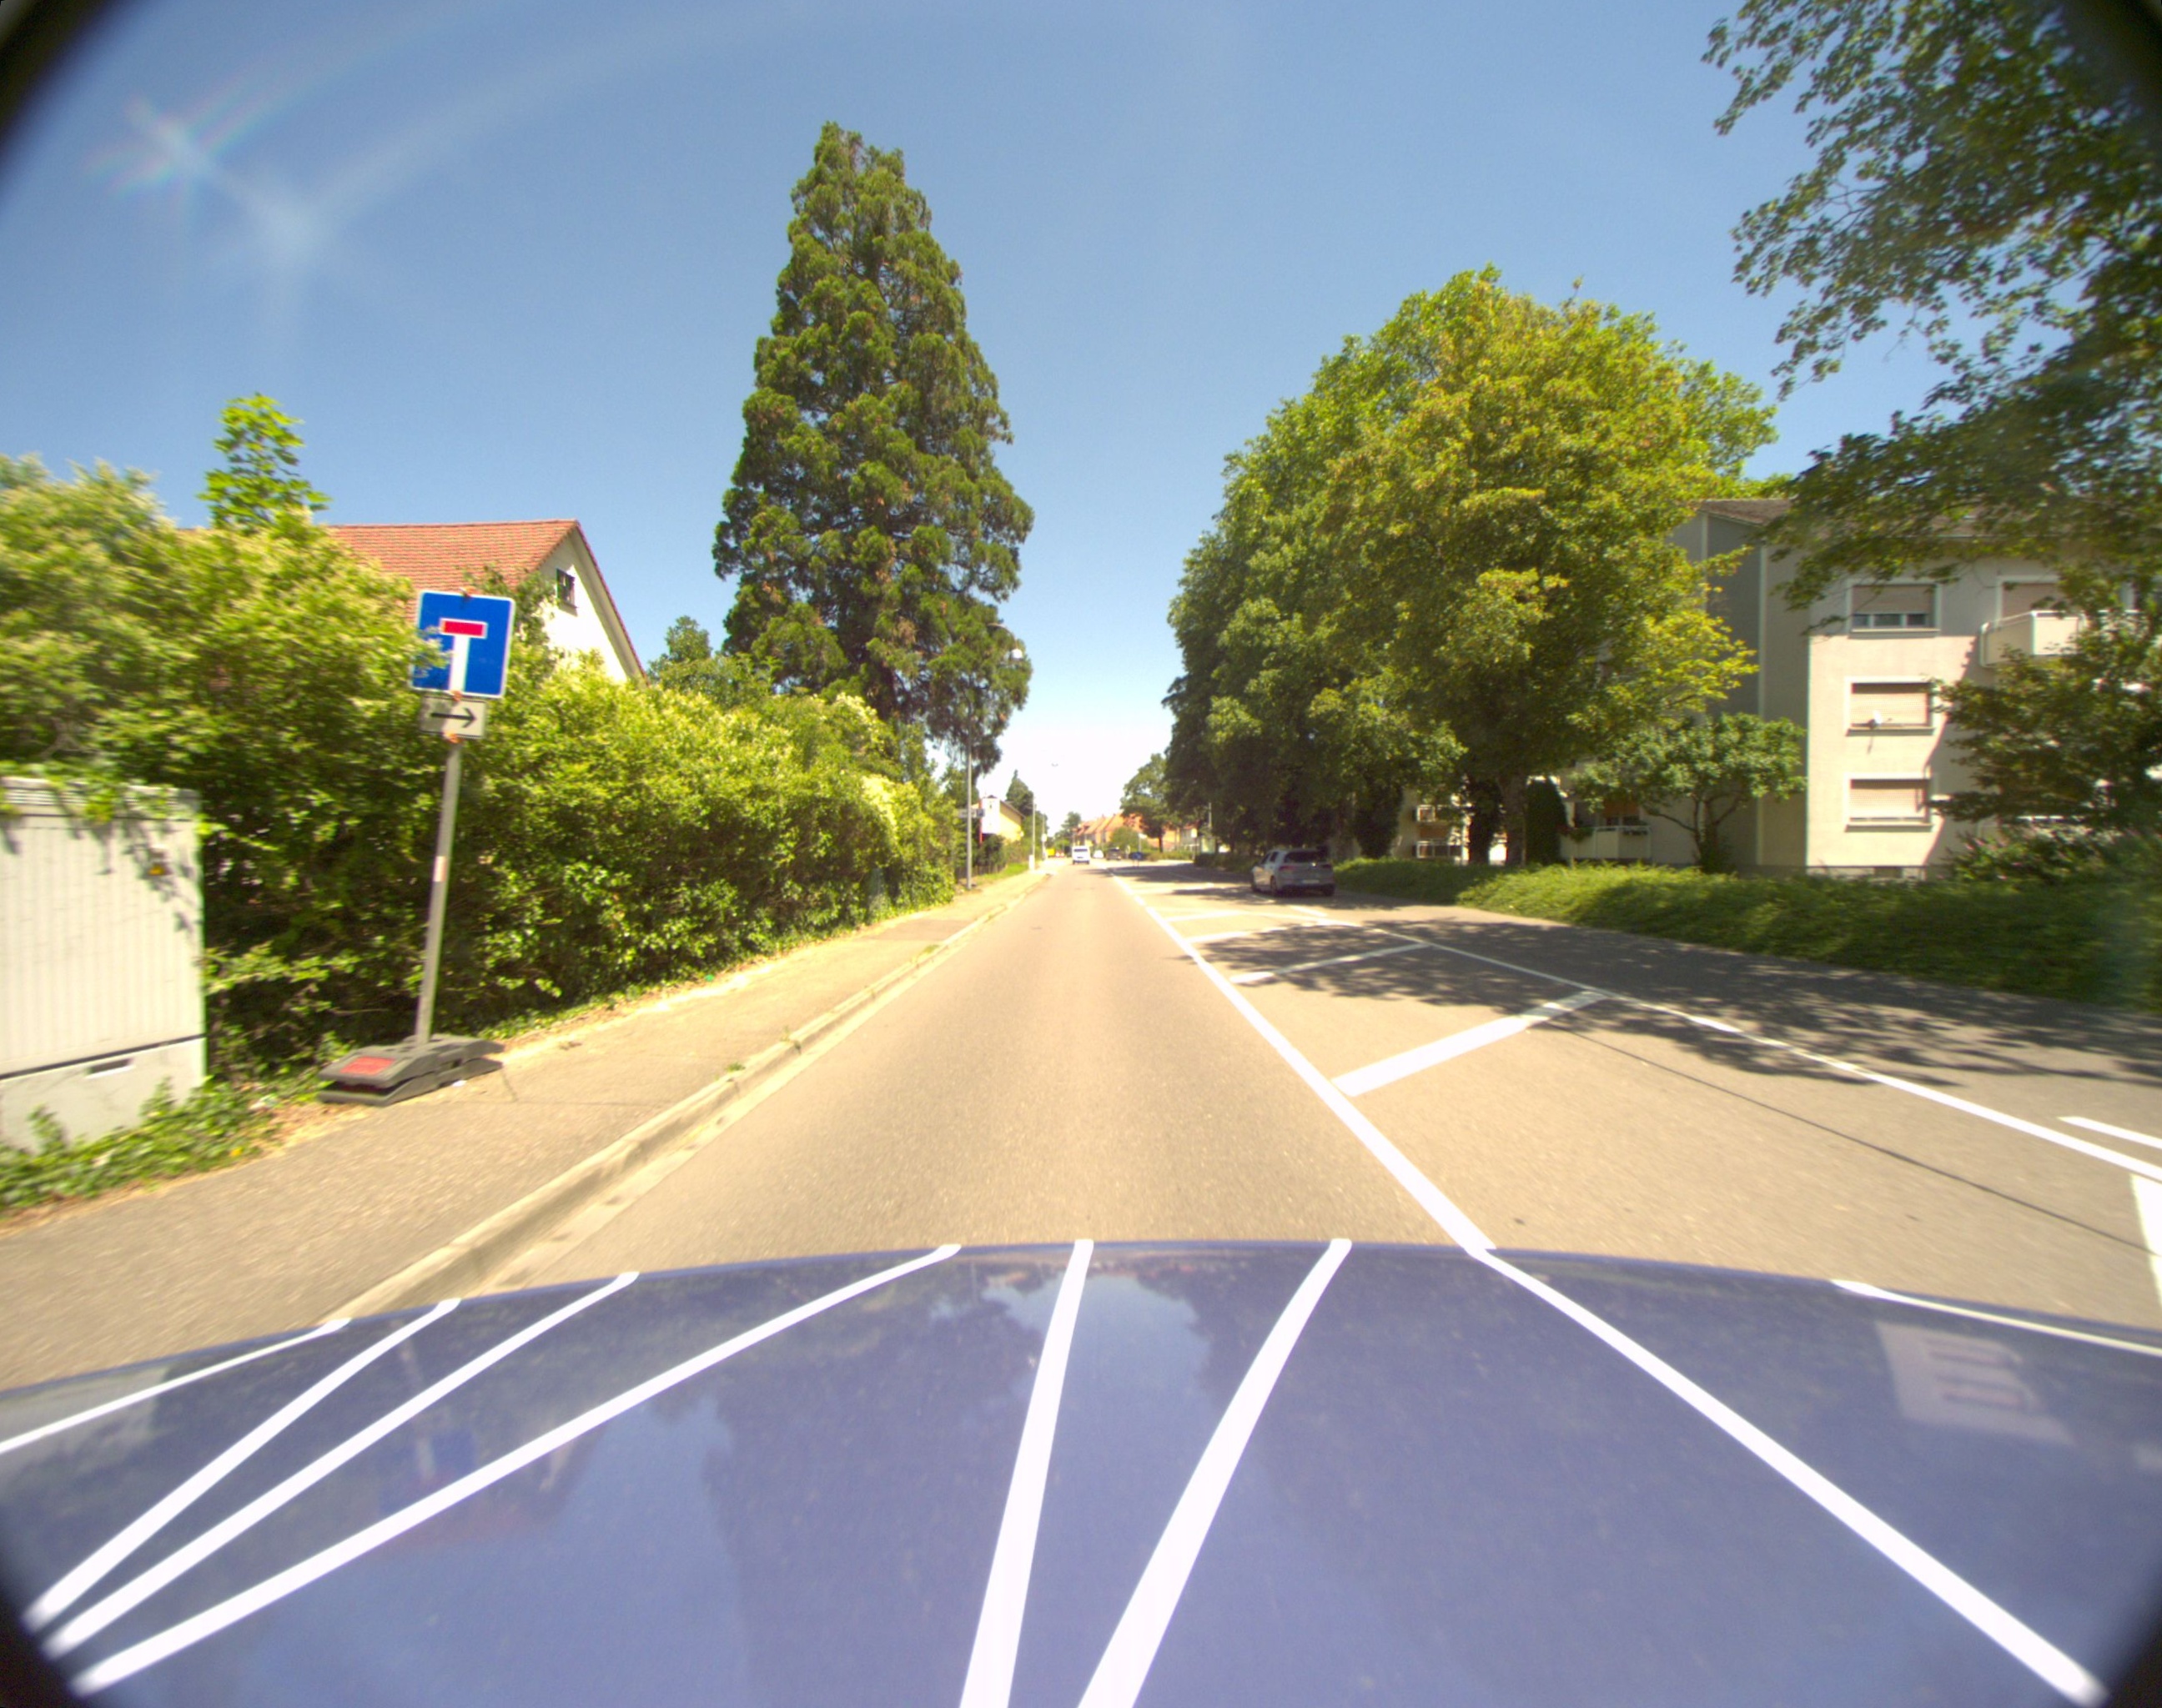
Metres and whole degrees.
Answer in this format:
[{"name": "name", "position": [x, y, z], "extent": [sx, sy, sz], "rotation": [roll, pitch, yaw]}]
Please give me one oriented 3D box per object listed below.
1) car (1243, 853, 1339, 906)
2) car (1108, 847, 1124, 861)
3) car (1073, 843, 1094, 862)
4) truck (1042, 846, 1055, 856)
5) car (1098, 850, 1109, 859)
[{"name": "car", "position": [6.371, 0.729, 23.499], "extent": [1.726, 1.419, 4.147], "rotation": [-2, 0, -1]}, {"name": "car", "position": [5.371, -0.066, 116.232], "extent": [1.999, 1.899, 4.988], "rotation": [-2, 2, -2]}, {"name": "car", "position": [0.244, -0.180, 85.113], "extent": [1.999, 2.002, 4.385], "rotation": [-2, 0, -5]}, {"name": "truck", "position": [-7.715, -0.652, 181.383], "extent": [2.020, 2.295, 6.170], "rotation": [-3, 0, -11]}, {"name": "car", "position": [4.229, 0.087, 141.903], "extent": [1.695, 1.451, 3.639], "rotation": [-2, 0, -3]}]
